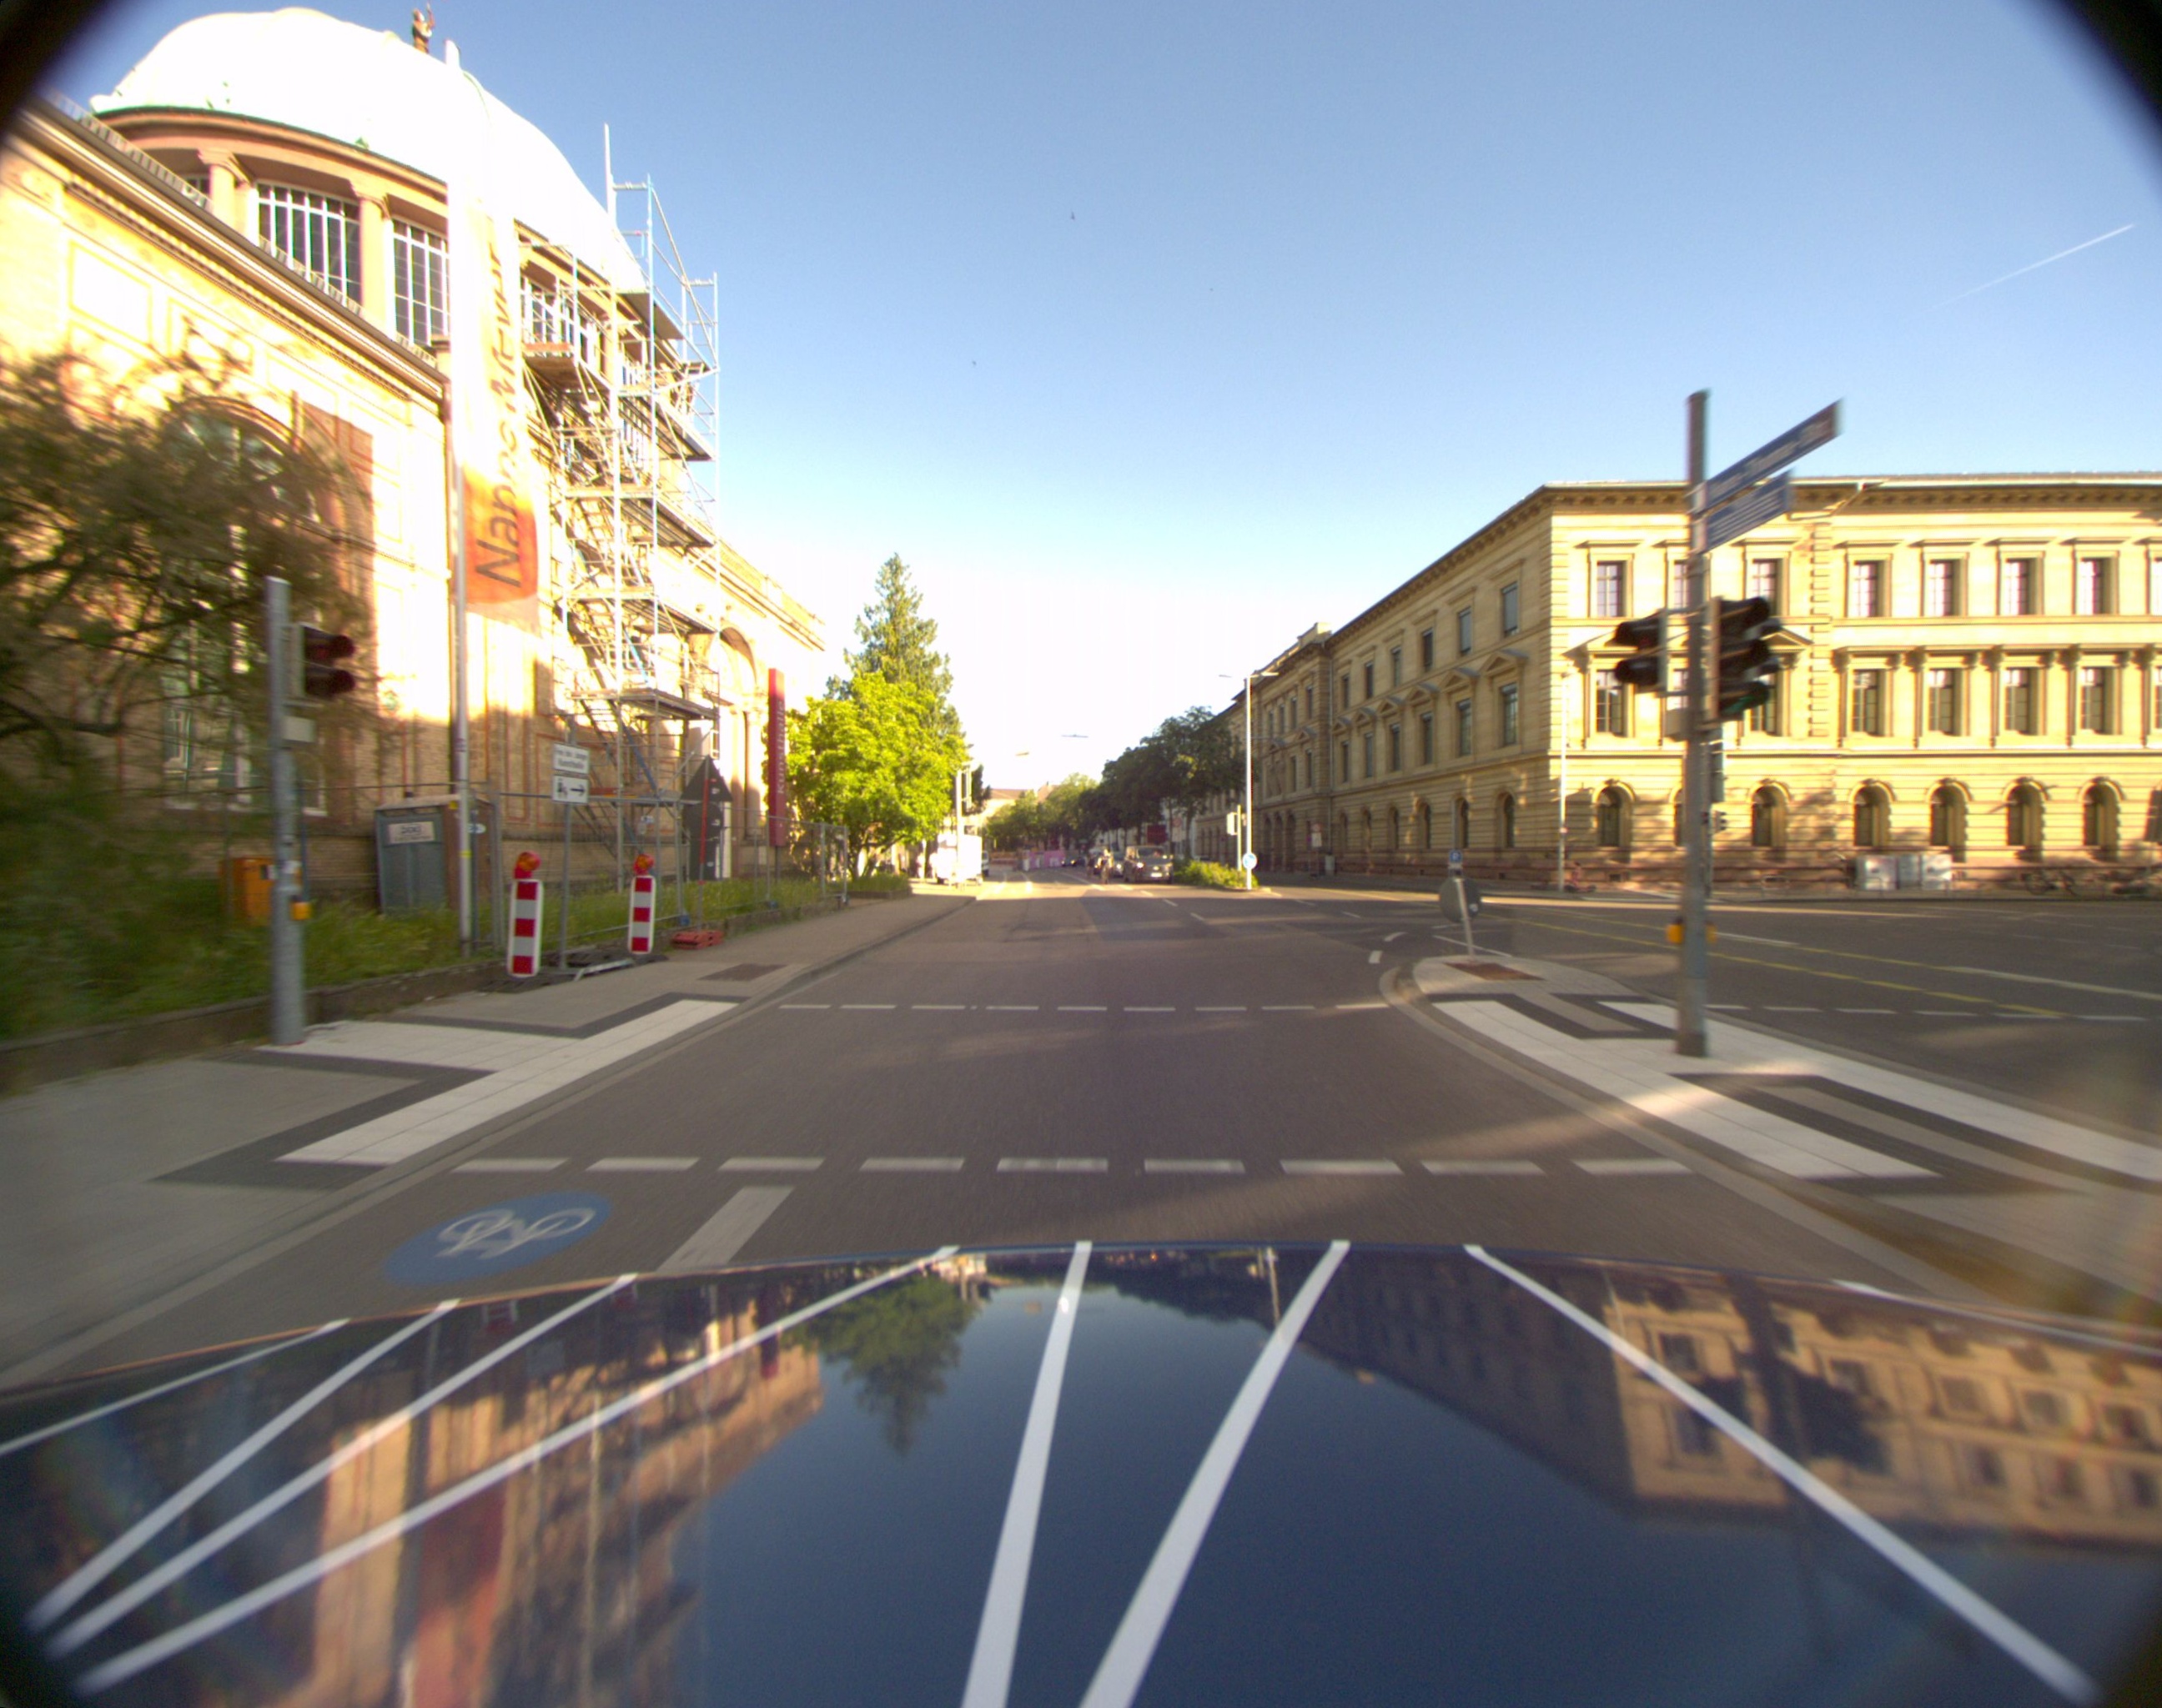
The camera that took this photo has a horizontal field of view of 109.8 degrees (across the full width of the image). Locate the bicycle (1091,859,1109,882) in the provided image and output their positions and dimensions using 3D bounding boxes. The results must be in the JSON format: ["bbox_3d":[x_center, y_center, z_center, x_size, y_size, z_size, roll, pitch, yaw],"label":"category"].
[{"bbox_3d":[1.001,0.851,40.198,0.831,1.136,1.969,-1,1,-1],"label":"bicycle"}]

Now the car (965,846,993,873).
[{"bbox_3d":[-7.898,0.388,58.616,2.021,1.934,5.476,-2,1,-8],"label":"car"}]

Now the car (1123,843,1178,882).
[{"bbox_3d":[3.559,0.389,39.874,2.074,1.904,5.030,0,1,-4],"label":"car"}]

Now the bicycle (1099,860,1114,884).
[{"bbox_3d":[1.255,0.882,37.953,0.644,1.148,2.076,-1,1,-1],"label":"bicycle"}]

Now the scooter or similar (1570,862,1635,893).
[{"bbox_3d":[20.273,0.897,29.557,2.028,1.181,0.457,0,1,26],"label":"scooter or similar"}]

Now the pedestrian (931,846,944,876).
[{"bbox_3d":[-8.977,0.443,47.541,0.717,1.883,0.889,1,0,-6],"label":"pedestrian"}]

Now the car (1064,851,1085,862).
[{"bbox_3d":[-0.785,0.312,90.770,1.551,1.288,3.642,3,1,15],"label":"car"}]

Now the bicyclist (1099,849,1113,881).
[{"bbox_3d":[1.253,0.557,38.028,0.672,1.599,0.825,0,1,-1],"label":"bicyclist"}]

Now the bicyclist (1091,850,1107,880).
[{"bbox_3d":[0.962,0.568,40.638,0.805,1.599,0.825,0,1,-1],"label":"bicyclist"}]

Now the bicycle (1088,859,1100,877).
[{"bbox_3d":[0.807,0.871,47.677,0.671,1.066,1.752,-1,1,-2],"label":"bicycle"}]

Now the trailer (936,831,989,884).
[{"bbox_3d":[-6.036,0.153,39.143,2.085,2.513,4.491,2,0,-2],"label":"trailer"}]

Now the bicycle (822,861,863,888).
[{"bbox_3d":[-9.341,0.809,29.762,1.470,1.033,0.479,1,1,-3],"label":"bicycle"}]

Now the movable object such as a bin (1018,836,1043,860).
[{"bbox_3d":[-7.092,-0.845,105.735,3.172,3.281,4.383,0,0,-7],"label":"movable object such as a bin"}]

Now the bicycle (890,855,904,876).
[{"bbox_3d":[-10.302,0.631,42.502,0.396,1.123,1.927,0,0,-3],"label":"bicycle"}]

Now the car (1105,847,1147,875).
[{"bbox_3d":[2.883,0.450,49.984,1.997,1.739,4.744,0,0,-6],"label":"car"}]

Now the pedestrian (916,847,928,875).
[{"bbox_3d":[-9.921,0.423,47.423,0.684,1.691,0.693,1,0,-4],"label":"pedestrian"}]

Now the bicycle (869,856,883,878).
[{"bbox_3d":[-10.657,0.662,39.532,0.274,1.099,1.532,2,0,1],"label":"bicycle"}]

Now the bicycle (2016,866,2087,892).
[{"bbox_3d":[35.933,0.928,28.147,1.828,0.961,0.575,0,1,3],"label":"bicycle"}]

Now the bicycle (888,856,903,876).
[{"bbox_3d":[-10.956,0.717,44.957,0.419,1.149,1.826,2,0,-1],"label":"bicycle"}]

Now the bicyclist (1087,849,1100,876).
[{"bbox_3d":[0.787,0.540,47.895,0.674,1.643,0.887,-1,1,-3],"label":"bicyclist"}]

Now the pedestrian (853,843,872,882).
[{"bbox_3d":[-9.982,0.375,34.771,0.641,1.758,0.737,0,1,0],"label":"pedestrian"}]

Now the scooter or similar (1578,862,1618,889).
[{"bbox_3d":[20.655,0.865,30.376,1.330,1.046,0.393,0,1,1],"label":"scooter or similar"}]
